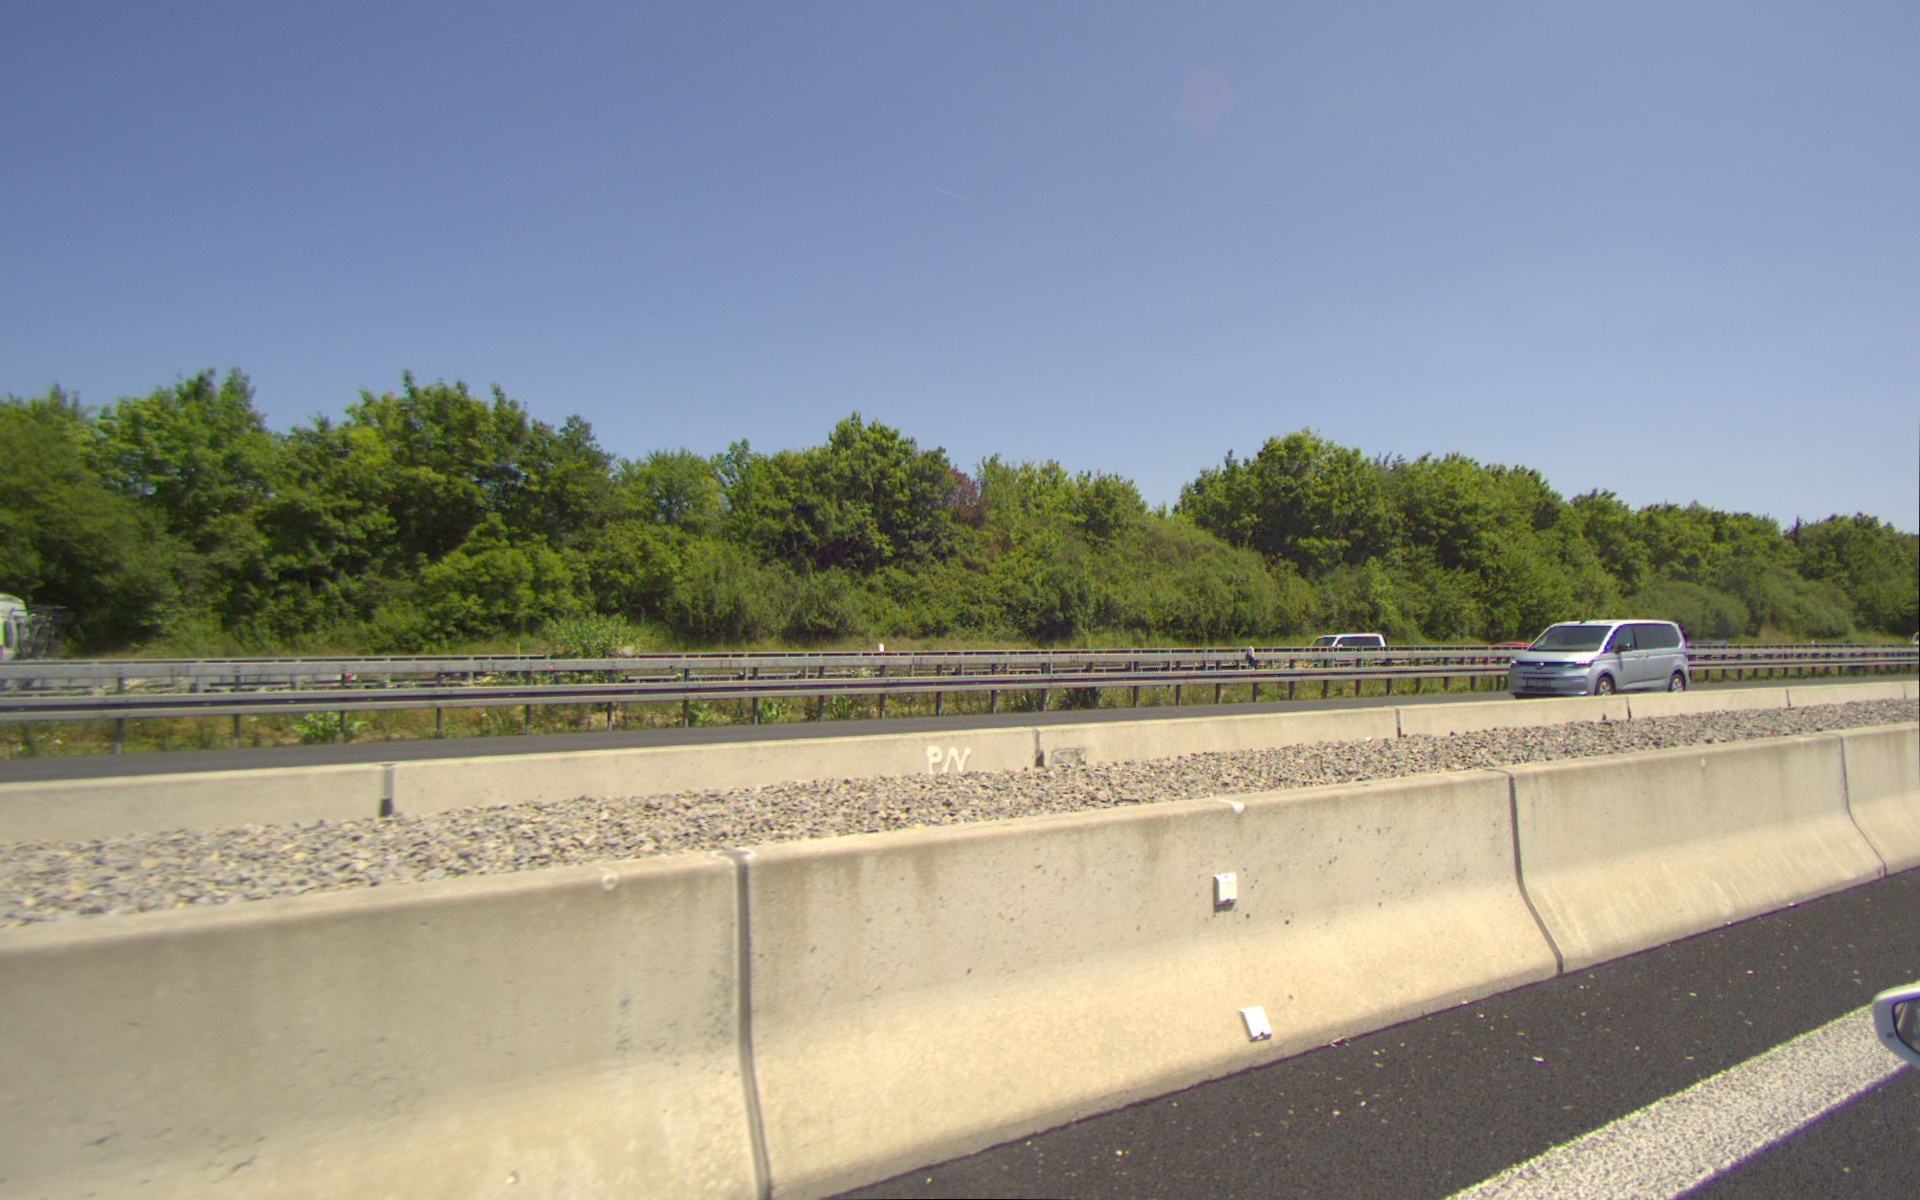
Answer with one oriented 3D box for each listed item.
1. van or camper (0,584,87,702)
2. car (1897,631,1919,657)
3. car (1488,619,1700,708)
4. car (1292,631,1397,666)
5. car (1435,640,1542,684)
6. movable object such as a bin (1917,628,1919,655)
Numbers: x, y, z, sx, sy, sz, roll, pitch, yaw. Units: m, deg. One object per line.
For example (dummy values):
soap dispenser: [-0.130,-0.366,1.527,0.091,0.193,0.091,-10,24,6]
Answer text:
van or camper: [-21.341,0.749,19.034,6.885,2.285,2.097,2,0,-30]
car: [70.502,3.218,73.086,4.758,1.829,1.985,1,-3,-29]
car: [14.668,1.424,23.185,5.024,1.866,1.985,1,-3,-30]
car: [19.307,2.432,50.421,4.923,1.598,1.988,2,0,-24]
car: [21.254,2.483,40.381,3.952,1.598,1.985,2,0,-29]
movable object such as a bin: [75.262,3.218,75.995,6.704,2.040,2.494,2,0,-32]
